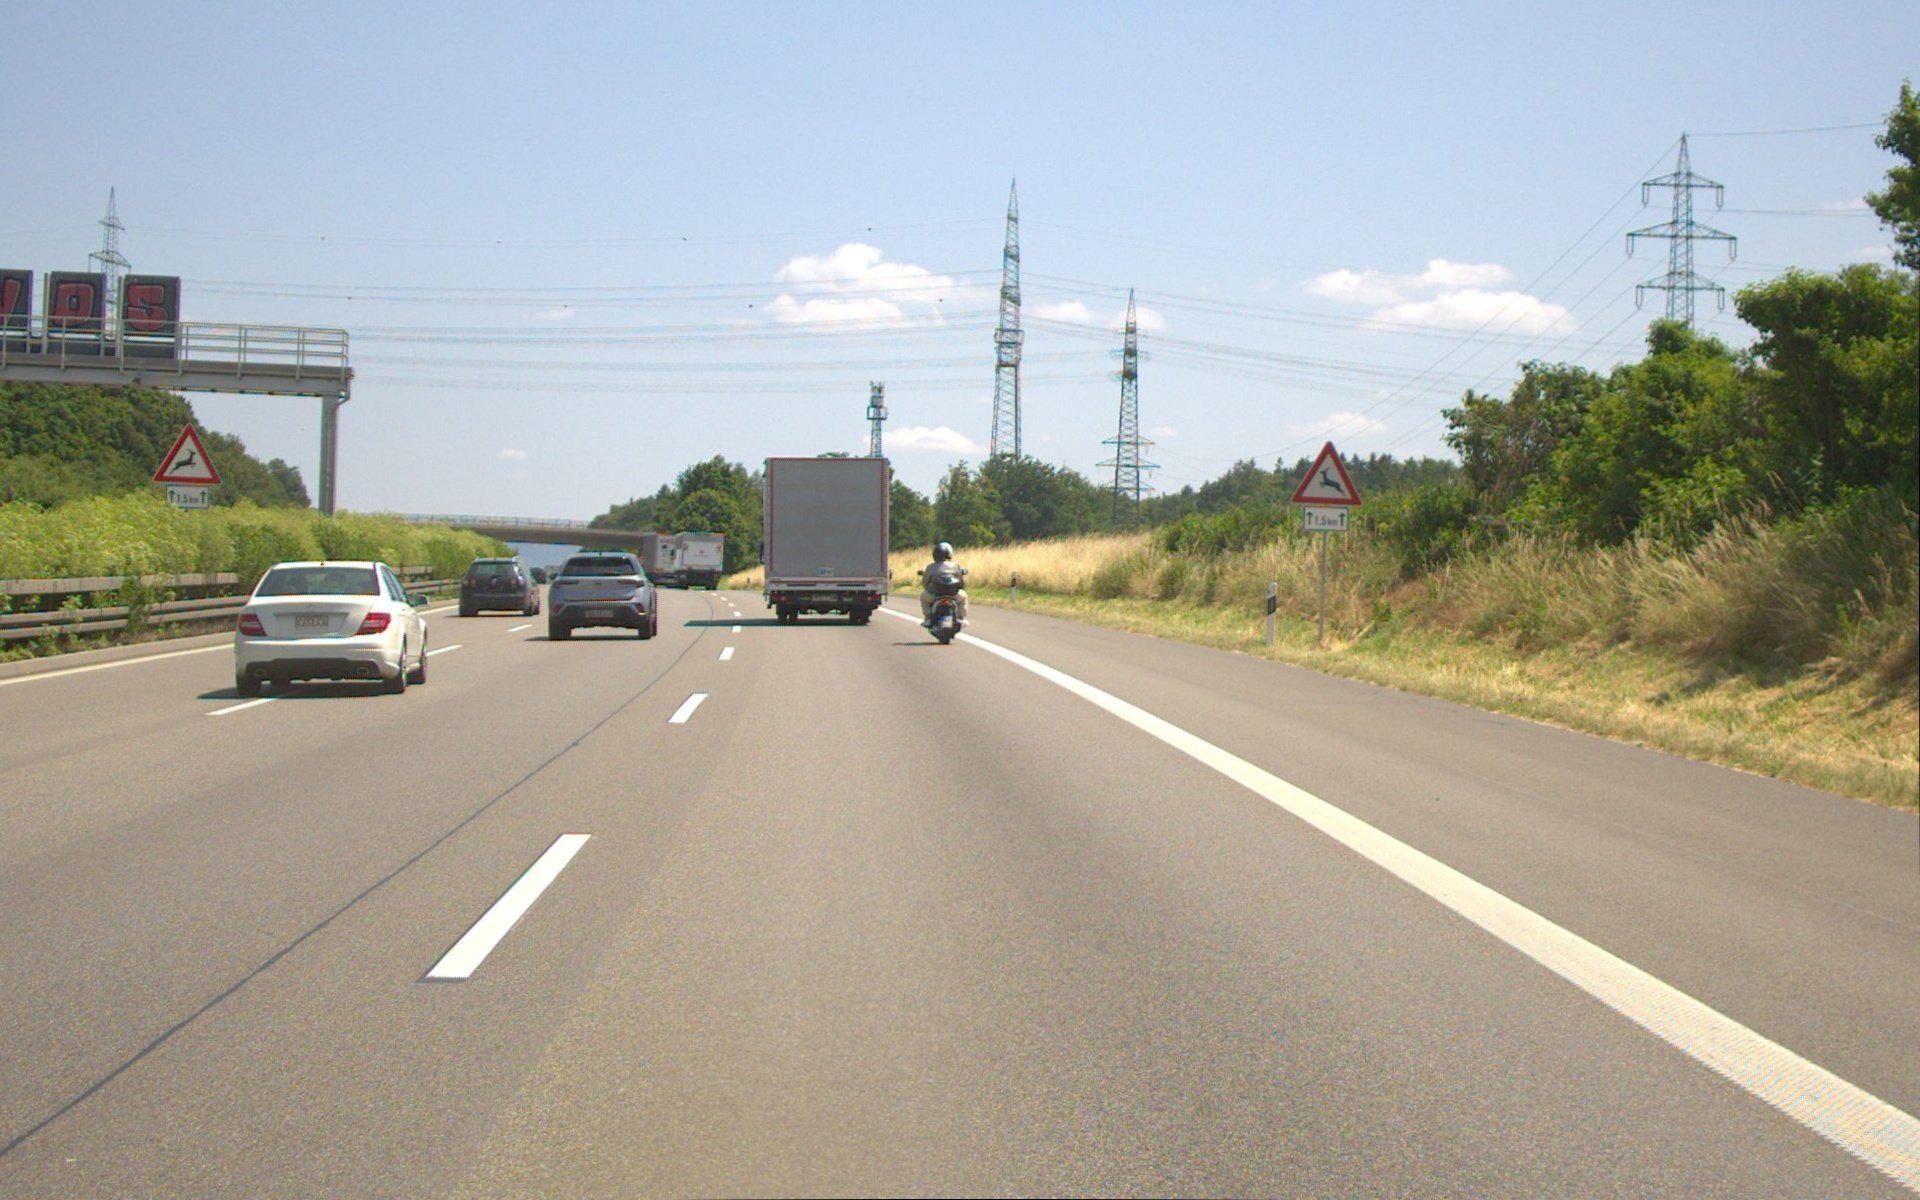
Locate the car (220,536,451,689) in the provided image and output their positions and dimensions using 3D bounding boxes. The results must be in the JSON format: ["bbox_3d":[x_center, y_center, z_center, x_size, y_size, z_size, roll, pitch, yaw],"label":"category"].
[{"bbox_3d":[-6.707,0.090,37.299,1.819,1.535,3.915,0,1,-1],"label":"car"}]

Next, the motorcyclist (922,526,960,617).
[{"bbox_3d":[-0.313,-0.473,56.108,0.572,1.474,0.700,0,1,-3],"label":"motorcyclist"}]

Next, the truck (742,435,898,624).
[{"bbox_3d":[-3.160,-1.526,75.722,3.221,3.911,9.062,0,1,-3],"label":"truck"}]

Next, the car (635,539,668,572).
[{"bbox_3d":[-18.422,-2.670,205.522,1.901,1.919,4.001,0,1,-4],"label":"car"}]

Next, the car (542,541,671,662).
[{"bbox_3d":[-6.181,-0.005,60.453,1.993,2.007,4.001,0,1,-2],"label":"car"}]

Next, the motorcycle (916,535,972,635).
[{"bbox_3d":[-0.266,-0.253,56.166,0.809,1.602,1.782,0,1,-3],"label":"motorcycle"}]

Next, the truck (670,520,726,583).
[{"bbox_3d":[-16.768,-3.104,219.963,3.483,3.899,7.291,0,1,-4],"label":"truck"}]

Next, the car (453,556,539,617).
[{"bbox_3d":[-11.439,-0.348,84.941,1.756,1.424,4.001,0,1,-3],"label":"car"}]
